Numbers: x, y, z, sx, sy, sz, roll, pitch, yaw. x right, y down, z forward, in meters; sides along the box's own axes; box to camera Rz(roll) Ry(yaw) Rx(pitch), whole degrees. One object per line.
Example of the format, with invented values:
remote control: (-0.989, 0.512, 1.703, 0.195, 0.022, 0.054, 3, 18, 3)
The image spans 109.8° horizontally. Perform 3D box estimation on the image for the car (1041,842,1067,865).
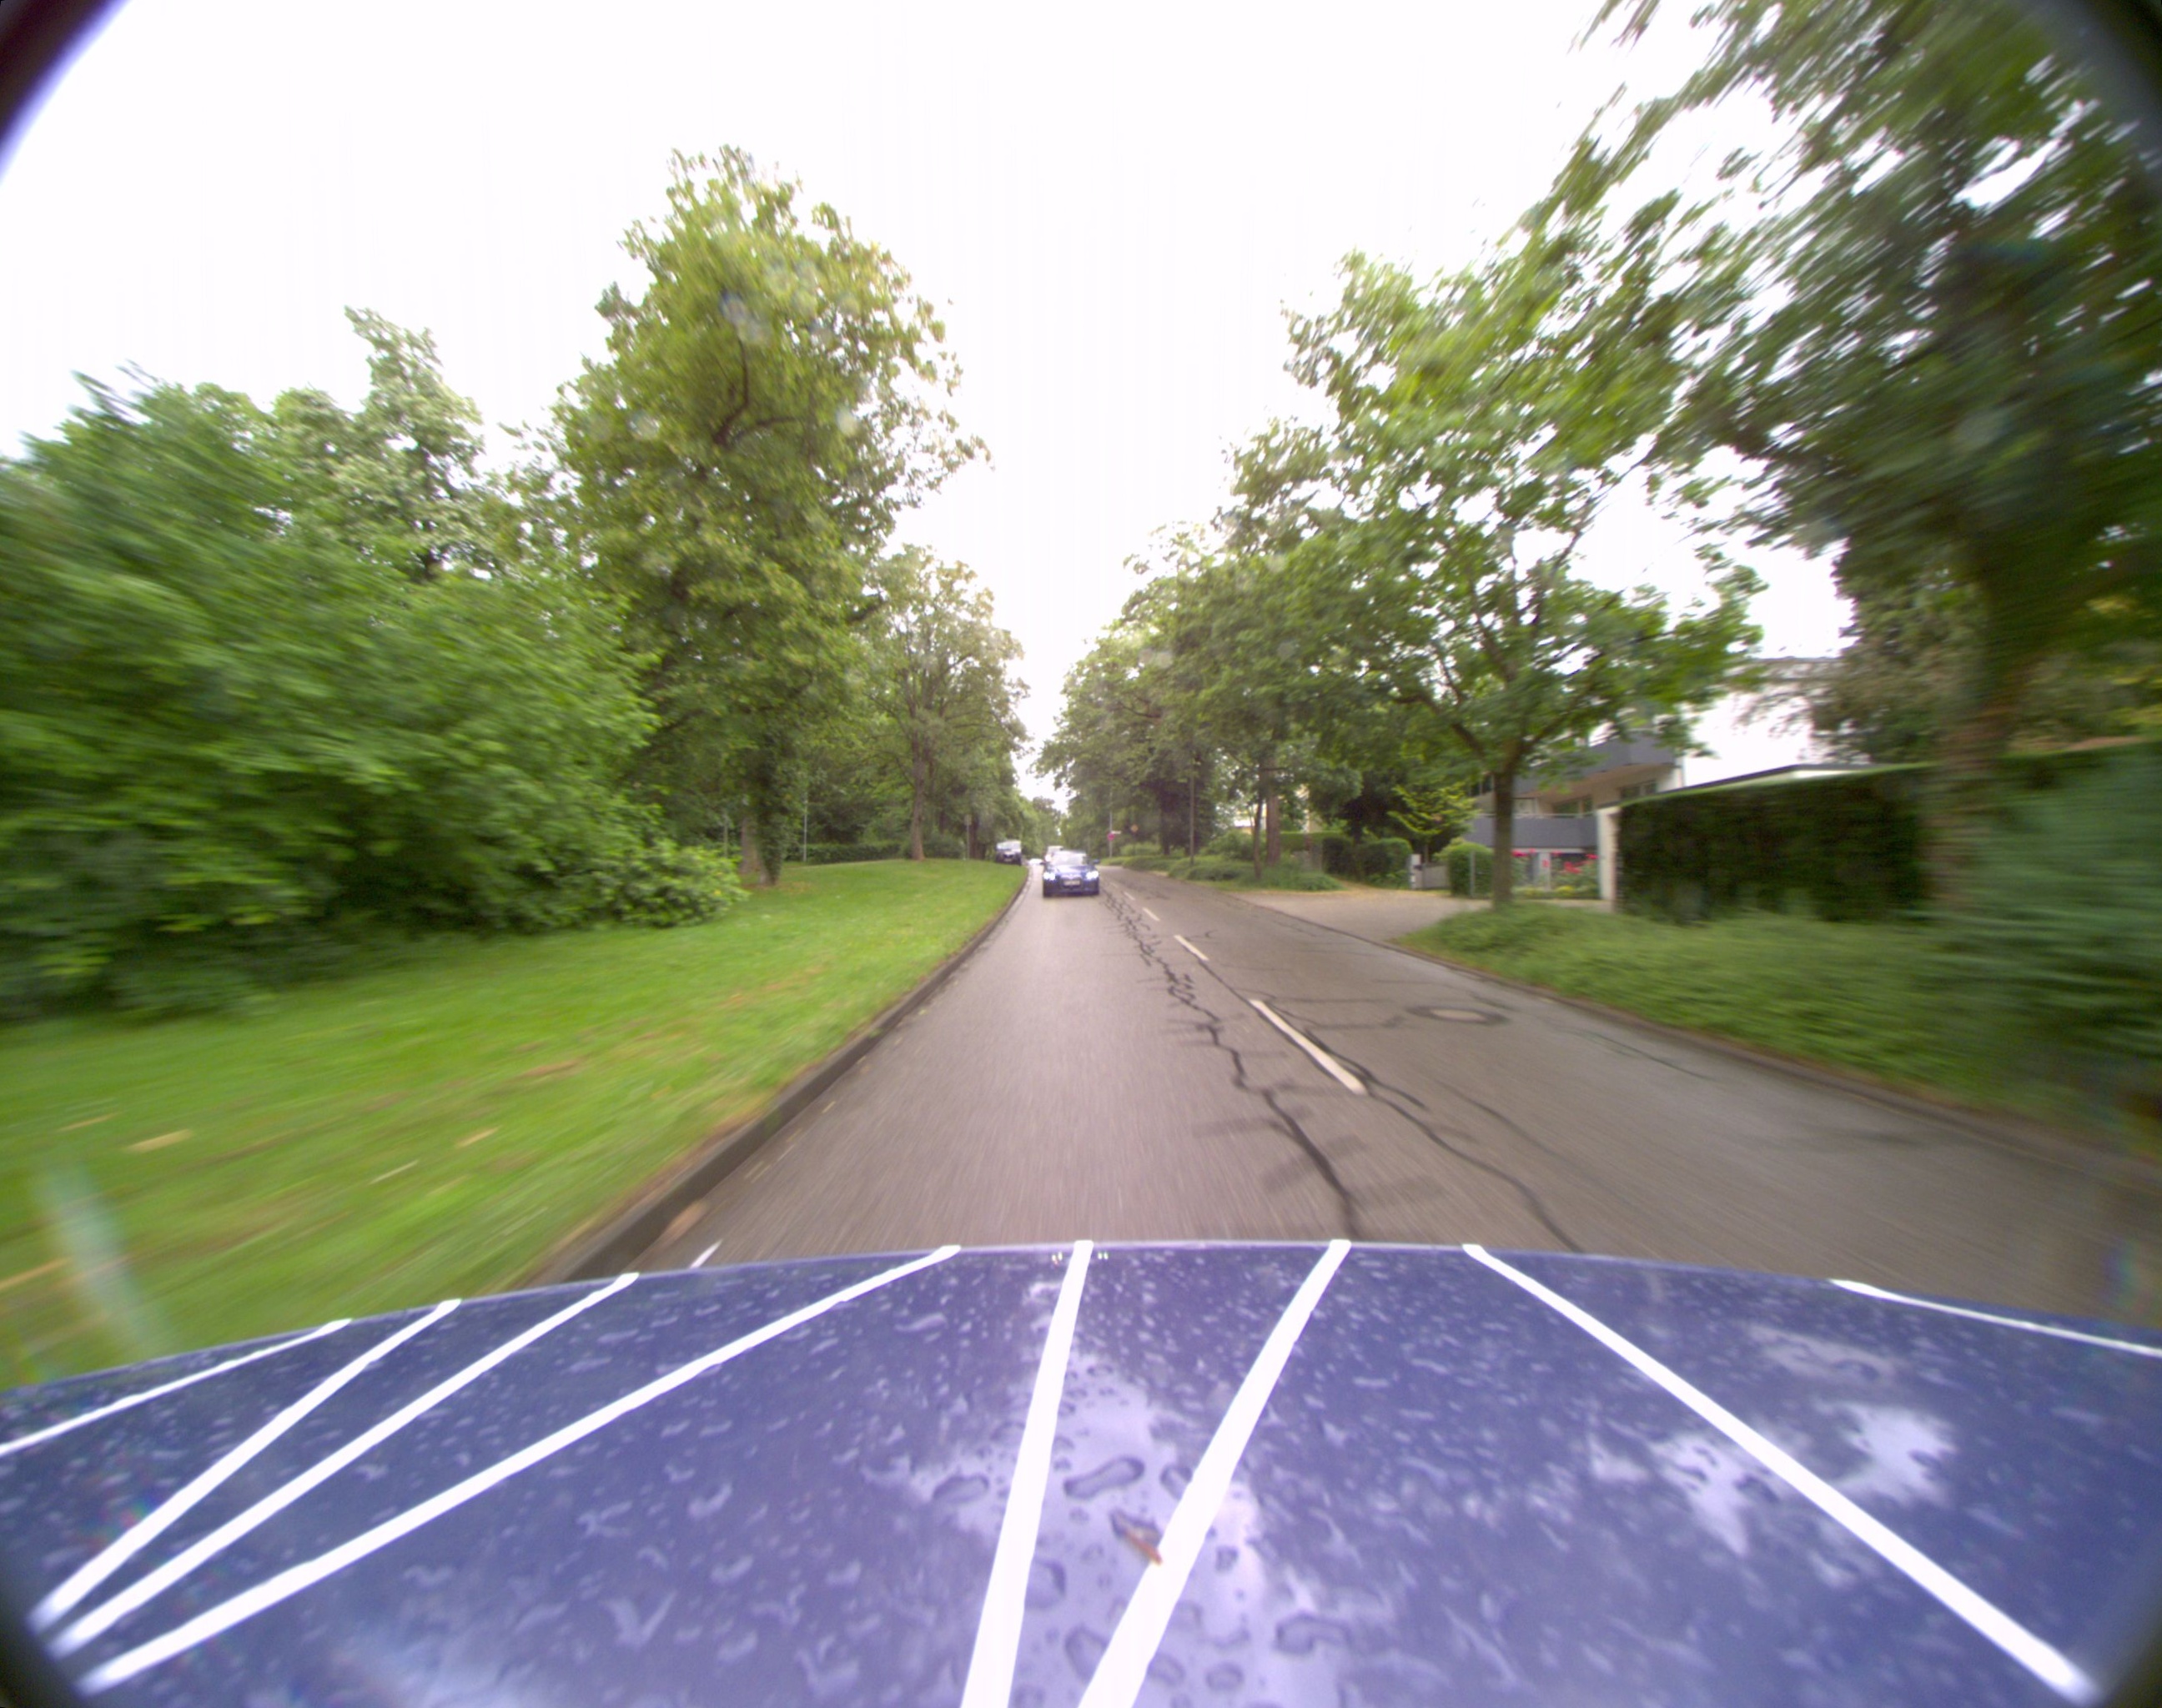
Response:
car: (-2.023, 0.005, 55.358, 1.796, 1.458, 4.510, 0, -3, -3)

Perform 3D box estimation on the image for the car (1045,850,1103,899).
car: (-0.282, 0.637, 26.338, 1.796, 1.459, 4.508, -2, 1, -2)

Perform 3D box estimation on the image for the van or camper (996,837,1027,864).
van or camper: (-5.089, -0.256, 56.108, 1.999, 1.858, 5.663, 1, 0, -3)

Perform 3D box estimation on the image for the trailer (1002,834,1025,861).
trailer: (-5.364, -0.509, 60.809, 1.701, 2.042, 3.950, 0, 1, -3)

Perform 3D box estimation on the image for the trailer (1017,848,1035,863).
trailer: (-6.738, 0.207, 93.588, 1.999, 1.590, 4.570, -2, -1, -3)
